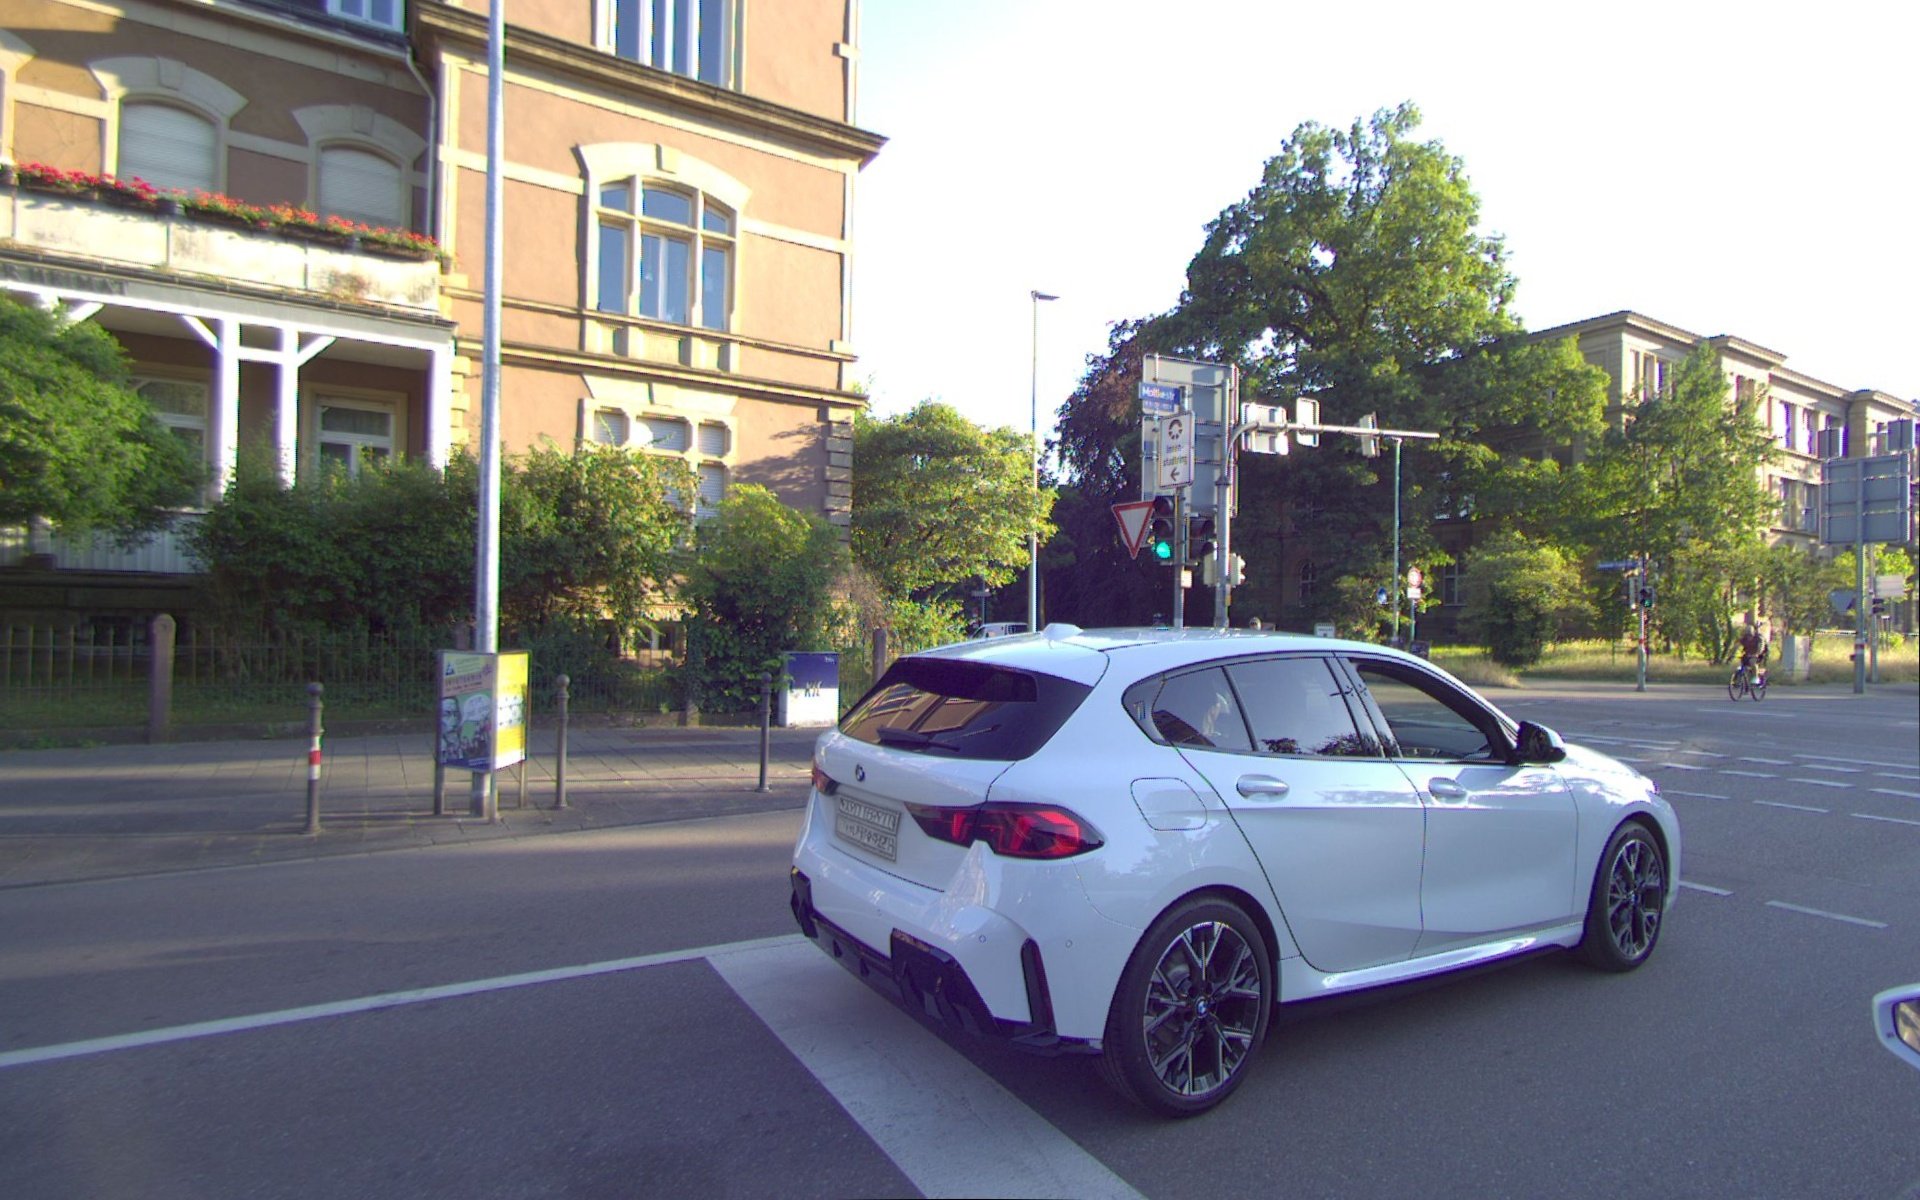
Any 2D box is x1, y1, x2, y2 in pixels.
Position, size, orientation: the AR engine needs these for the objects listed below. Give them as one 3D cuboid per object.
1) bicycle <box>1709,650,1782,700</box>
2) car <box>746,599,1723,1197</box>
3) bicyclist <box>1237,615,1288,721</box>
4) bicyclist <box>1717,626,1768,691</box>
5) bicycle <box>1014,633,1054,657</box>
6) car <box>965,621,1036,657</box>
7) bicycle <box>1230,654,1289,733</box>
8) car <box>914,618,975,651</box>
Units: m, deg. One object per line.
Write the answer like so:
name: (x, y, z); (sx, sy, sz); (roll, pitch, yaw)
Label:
bicycle: (19.176, 1.812, 24.512); (2.144, 1.138, 0.683); (2, -2, -31)
car: (1.364, 0.816, 4.351); (4.142, 1.485, 1.743); (2, -2, -32)
bicyclist: (4.968, 1.089, 16.468); (0.640, 1.654, 0.914); (2, 0, 24)
bicyclist: (19.017, 1.409, 24.404); (0.944, 1.532, 0.680); (2, -2, -30)
bicycle: (3.735, 2.274, 50.694); (1.852, 1.171, 0.748); (2, 0, -26)
car: (2.130, 2.061, 53.743); (1.841, 1.870, 4.087); (2, -2, -31)
bicycle: (4.888, 1.474, 16.316); (0.648, 1.104, 1.902); (2, 0, 24)
car: (-0.964, 2.010, 59.013); (1.840, 1.870, 4.155); (2, -2, -30)
